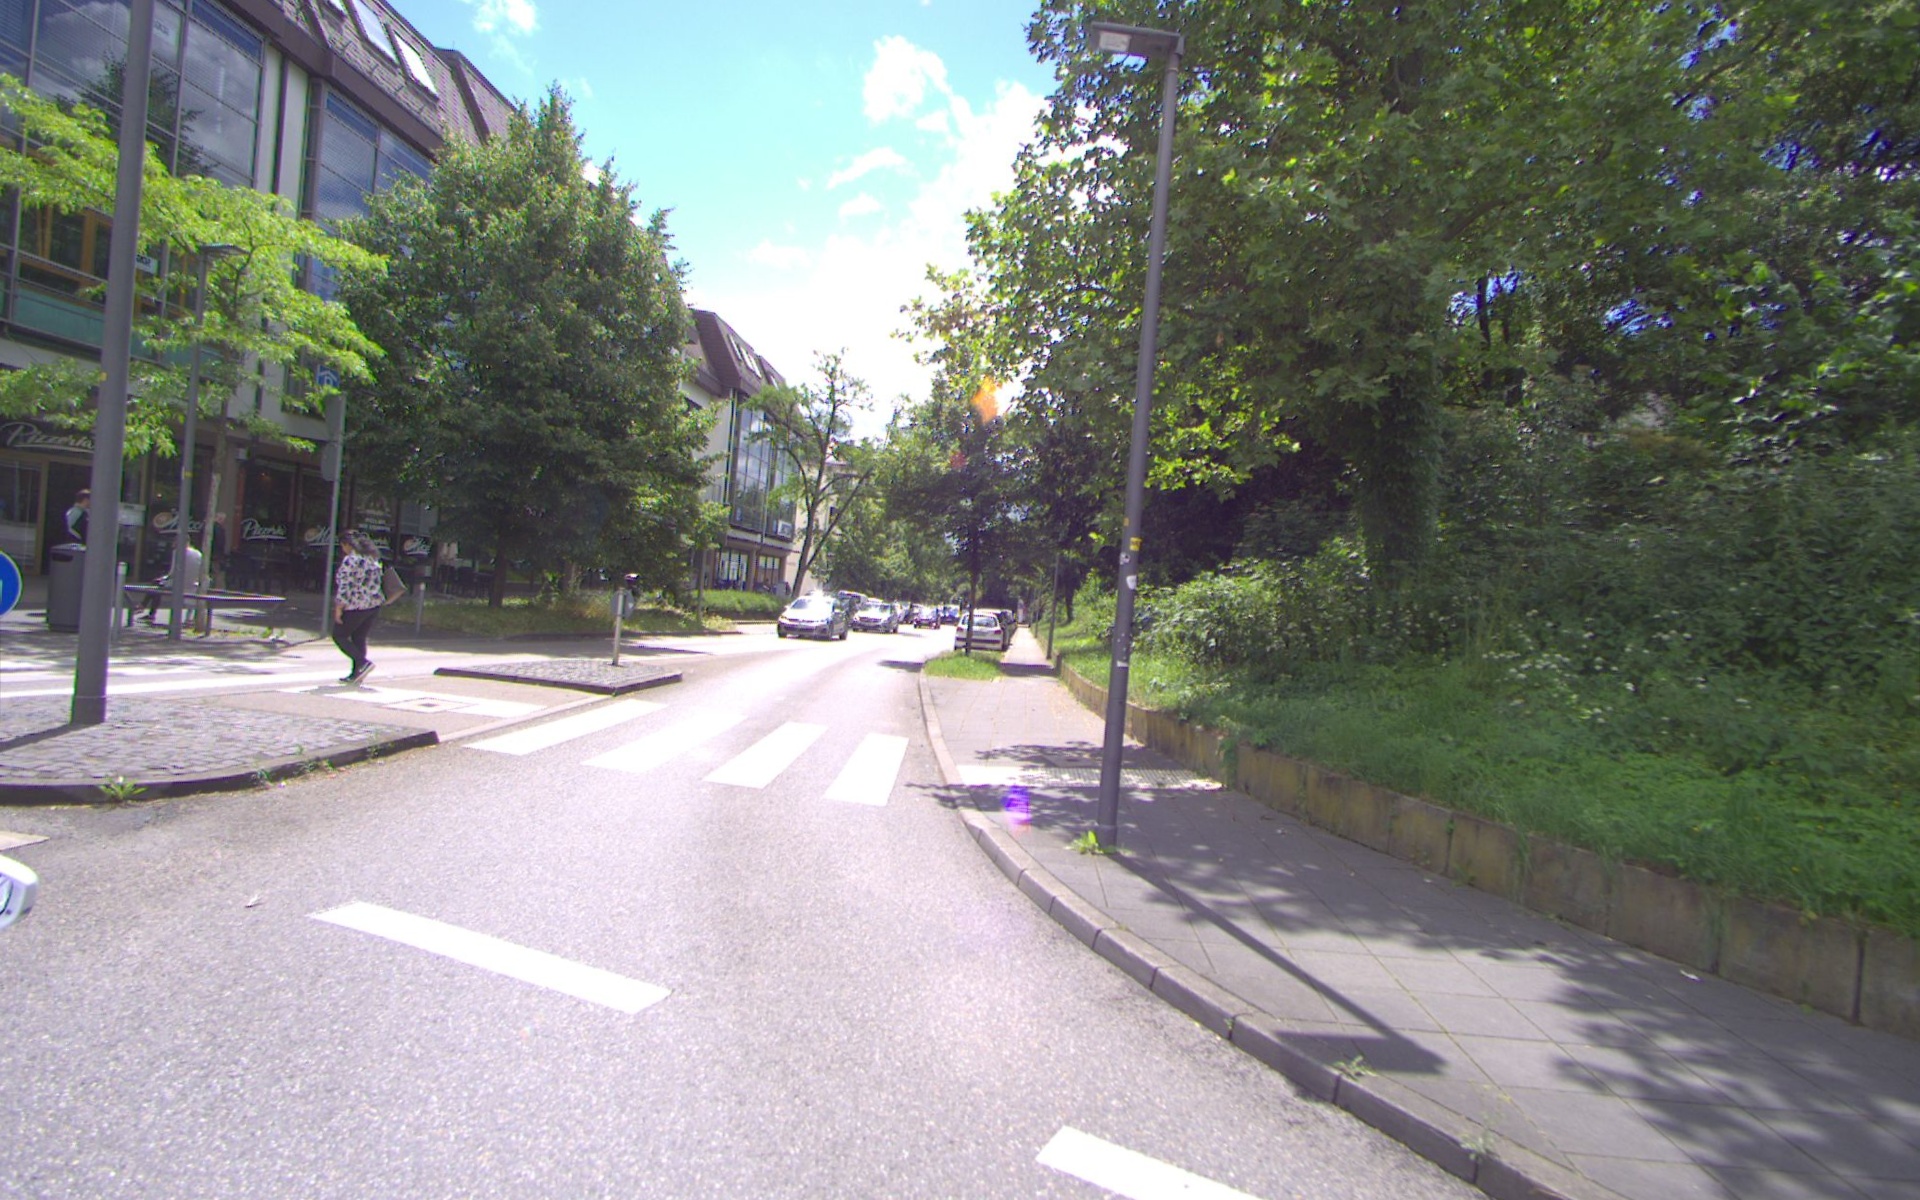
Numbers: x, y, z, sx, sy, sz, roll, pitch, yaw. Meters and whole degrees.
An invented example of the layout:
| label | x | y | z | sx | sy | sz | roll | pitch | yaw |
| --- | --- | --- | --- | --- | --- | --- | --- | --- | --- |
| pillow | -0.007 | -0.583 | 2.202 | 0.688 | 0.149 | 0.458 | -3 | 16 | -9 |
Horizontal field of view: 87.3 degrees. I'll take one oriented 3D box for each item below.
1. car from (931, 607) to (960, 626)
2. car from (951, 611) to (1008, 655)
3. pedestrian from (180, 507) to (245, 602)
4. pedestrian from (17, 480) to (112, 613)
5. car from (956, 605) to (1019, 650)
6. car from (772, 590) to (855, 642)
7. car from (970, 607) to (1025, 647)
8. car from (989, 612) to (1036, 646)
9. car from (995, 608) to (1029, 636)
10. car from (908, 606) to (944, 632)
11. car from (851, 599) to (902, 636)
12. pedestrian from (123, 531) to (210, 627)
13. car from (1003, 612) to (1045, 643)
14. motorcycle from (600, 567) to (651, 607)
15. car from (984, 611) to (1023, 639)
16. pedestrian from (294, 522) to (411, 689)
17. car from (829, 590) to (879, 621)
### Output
| label | x | y | z | sx | sy | sz | roll | pitch | yaw |
| --- | --- | --- | --- | --- | --- | --- | --- | --- | --- |
| car | -1.348 | 1.587 | 95.816 | 2.348 | 1.526 | 4.586 | 7 | -1 | 3 |
| car | 0.730 | 1.113 | 34.969 | 1.723 | 1.347 | 4.001 | 3 | -1 | 4 |
| pedestrian | -14.096 | -0.845 | 18.983 | 0.607 | 1.695 | 0.696 | 6 | 0 | -11 |
| pedestrian | -13.049 | -0.760 | 14.669 | 0.684 | 1.842 | 0.617 | 6 | 1 | 7 |
| car | 1.160 | 1.123 | 40.591 | 1.897 | 1.504 | 4.002 | 7 | 0 | 9 |
| car | -4.948 | 0.548 | 34.647 | 1.962 | 1.526 | 4.586 | 5 | -1 | 2 |
| car | 1.754 | 1.211 | 45.914 | 1.897 | 1.504 | 4.001 | 7 | 0 | 9 |
| car | 2.749 | 1.507 | 52.108 | 1.897 | 1.504 | 4.002 | 7 | 0 | 9 |
| car | 3.902 | 1.626 | 75.003 | 1.897 | 1.826 | 4.002 | 7 | 0 | 9 |
| car | -2.366 | 1.327 | 70.831 | 1.962 | 1.526 | 4.586 | 7 | -1 | 3 |
| car | -3.998 | 0.828 | 48.921 | 1.963 | 1.526 | 4.585 | 6 | -1 | 1 |
| pedestrian | -11.649 | -0.298 | 14.784 | 0.684 | 1.301 | 0.617 | 6 | 0 | 14 |
| car | 3.679 | 1.577 | 57.286 | 1.897 | 1.504 | 4.002 | 7 | 0 | 9 |
| motorcycle | -11.932 | -0.438 | 35.981 | 0.841 | 1.308 | 2.186 | 6 | 0 | 4 |
| car | 2.775 | 1.600 | 63.394 | 1.897 | 1.504 | 4.002 | 7 | 0 | 9 |
| pedestrian | -6.149 | 0.050 | 10.174 | 0.760 | 1.573 | 0.770 | 6 | 0 | -41 |
| car | -6.150 | 0.348 | 58.953 | 1.962 | 1.526 | 4.587 | 7 | -1 | 5 |
